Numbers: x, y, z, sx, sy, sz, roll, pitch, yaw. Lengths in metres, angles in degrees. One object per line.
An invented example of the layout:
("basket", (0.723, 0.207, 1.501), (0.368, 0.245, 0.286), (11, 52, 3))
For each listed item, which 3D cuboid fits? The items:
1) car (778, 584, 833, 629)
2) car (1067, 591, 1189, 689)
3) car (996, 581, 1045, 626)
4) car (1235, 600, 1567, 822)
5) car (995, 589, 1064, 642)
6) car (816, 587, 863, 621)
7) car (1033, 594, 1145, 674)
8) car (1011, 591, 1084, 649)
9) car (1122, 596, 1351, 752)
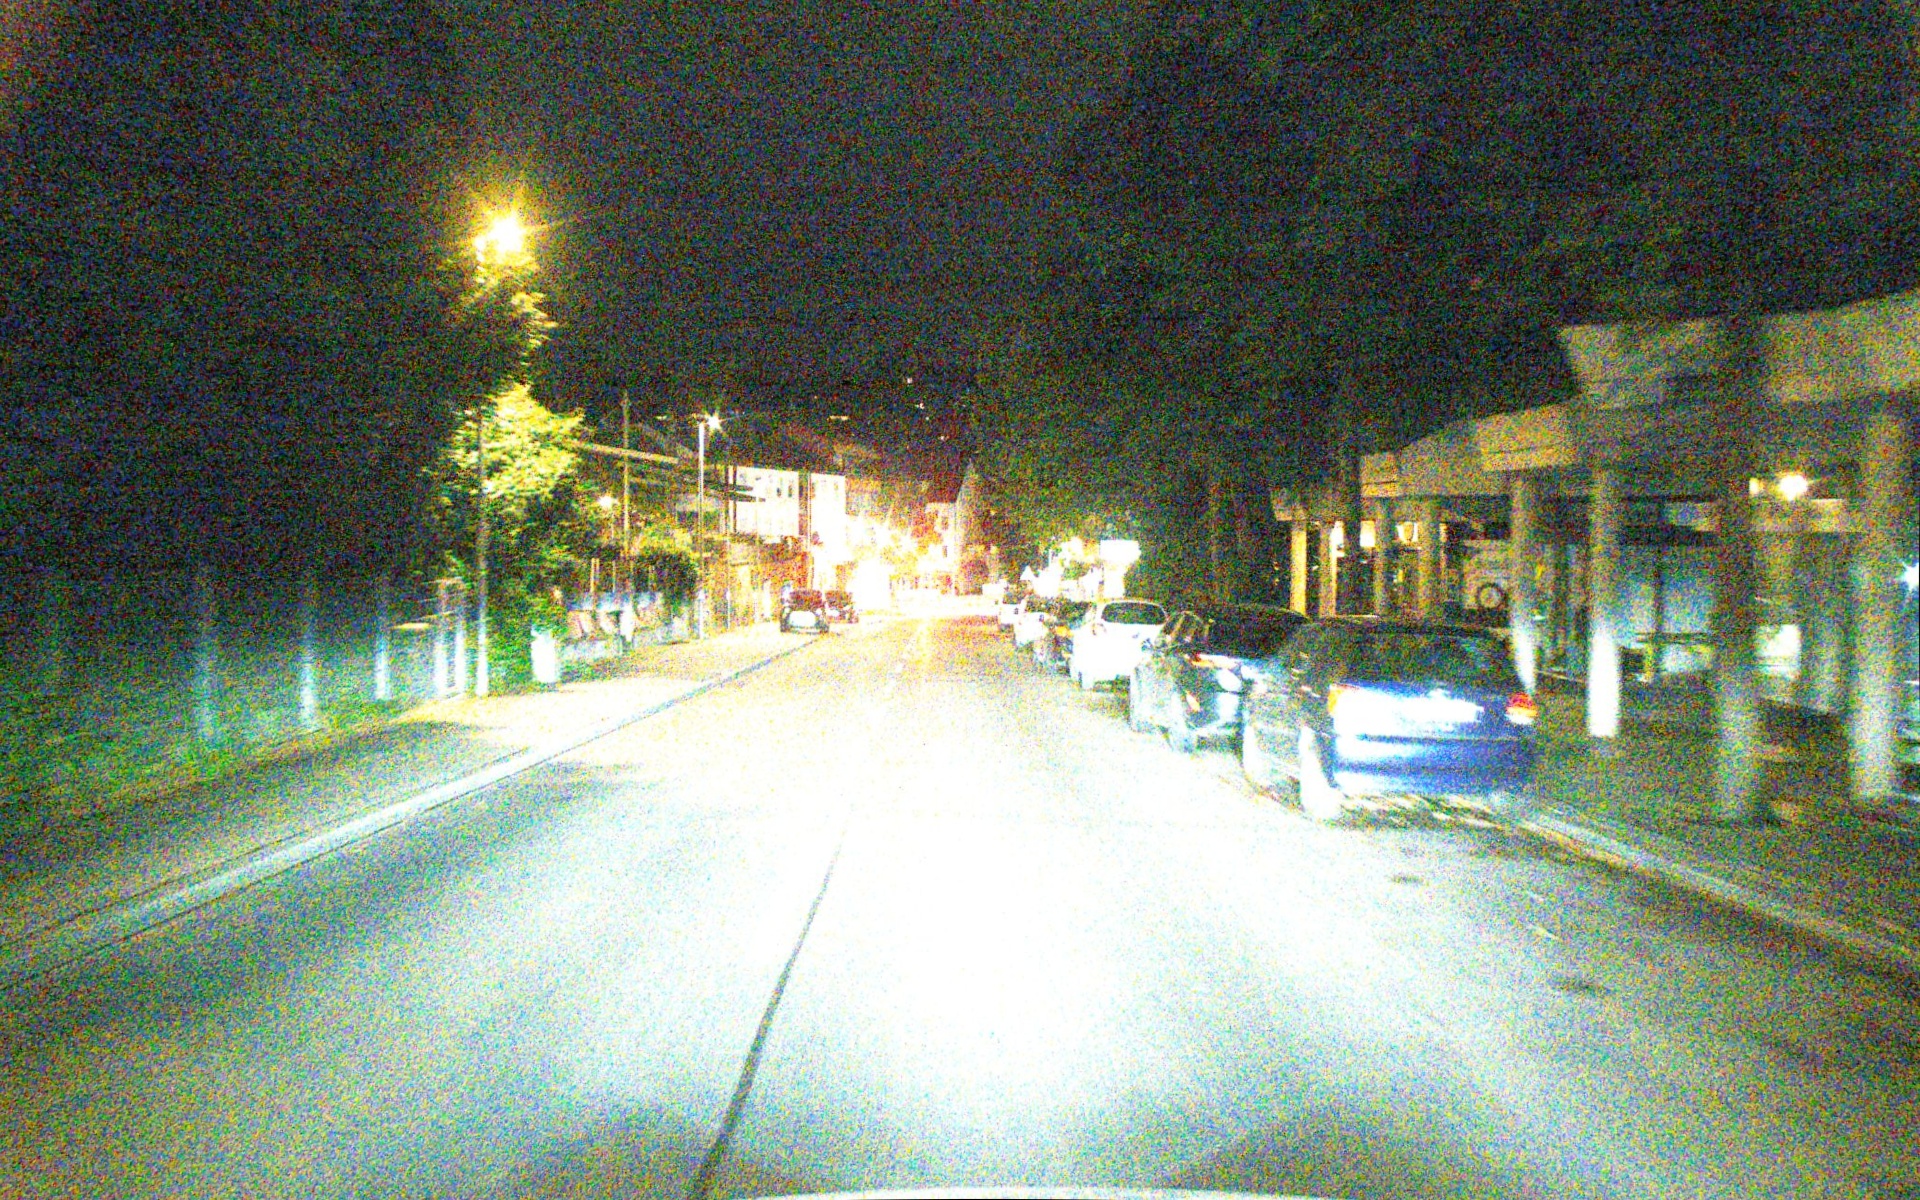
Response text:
("car", (-5.551, 0.257, 59.744), (1.657, 1.550, 3.690), (1, -1, -1))
("car", (2.804, 0.630, 28.215), (1.605, 1.492, 3.775), (2, 0, -1))
("car", (2.353, 0.107, 64.924), (1.750, 1.670, 4.380), (-1, 0, 1))
("car", (3.238, 0.746, 12.802), (1.567, 1.423, 3.517), (1, 0, -1))
("car", (2.070, 0.441, 50.306), (1.744, 1.462, 4.288), (2, 0, -2))
("car", (-5.578, 0.160, 76.963), (1.656, 1.461, 4.129), (2, 1, 3))
("car", (2.501, 0.619, 33.046), (1.726, 1.440, 4.438), (1, 0, -2))
("car", (2.302, 0.495, 44.503), (1.642, 1.472, 4.611), (0, 0, -1))
("car", (2.863, 0.709, 17.904), (1.643, 1.472, 3.998), (0, 0, -3))
